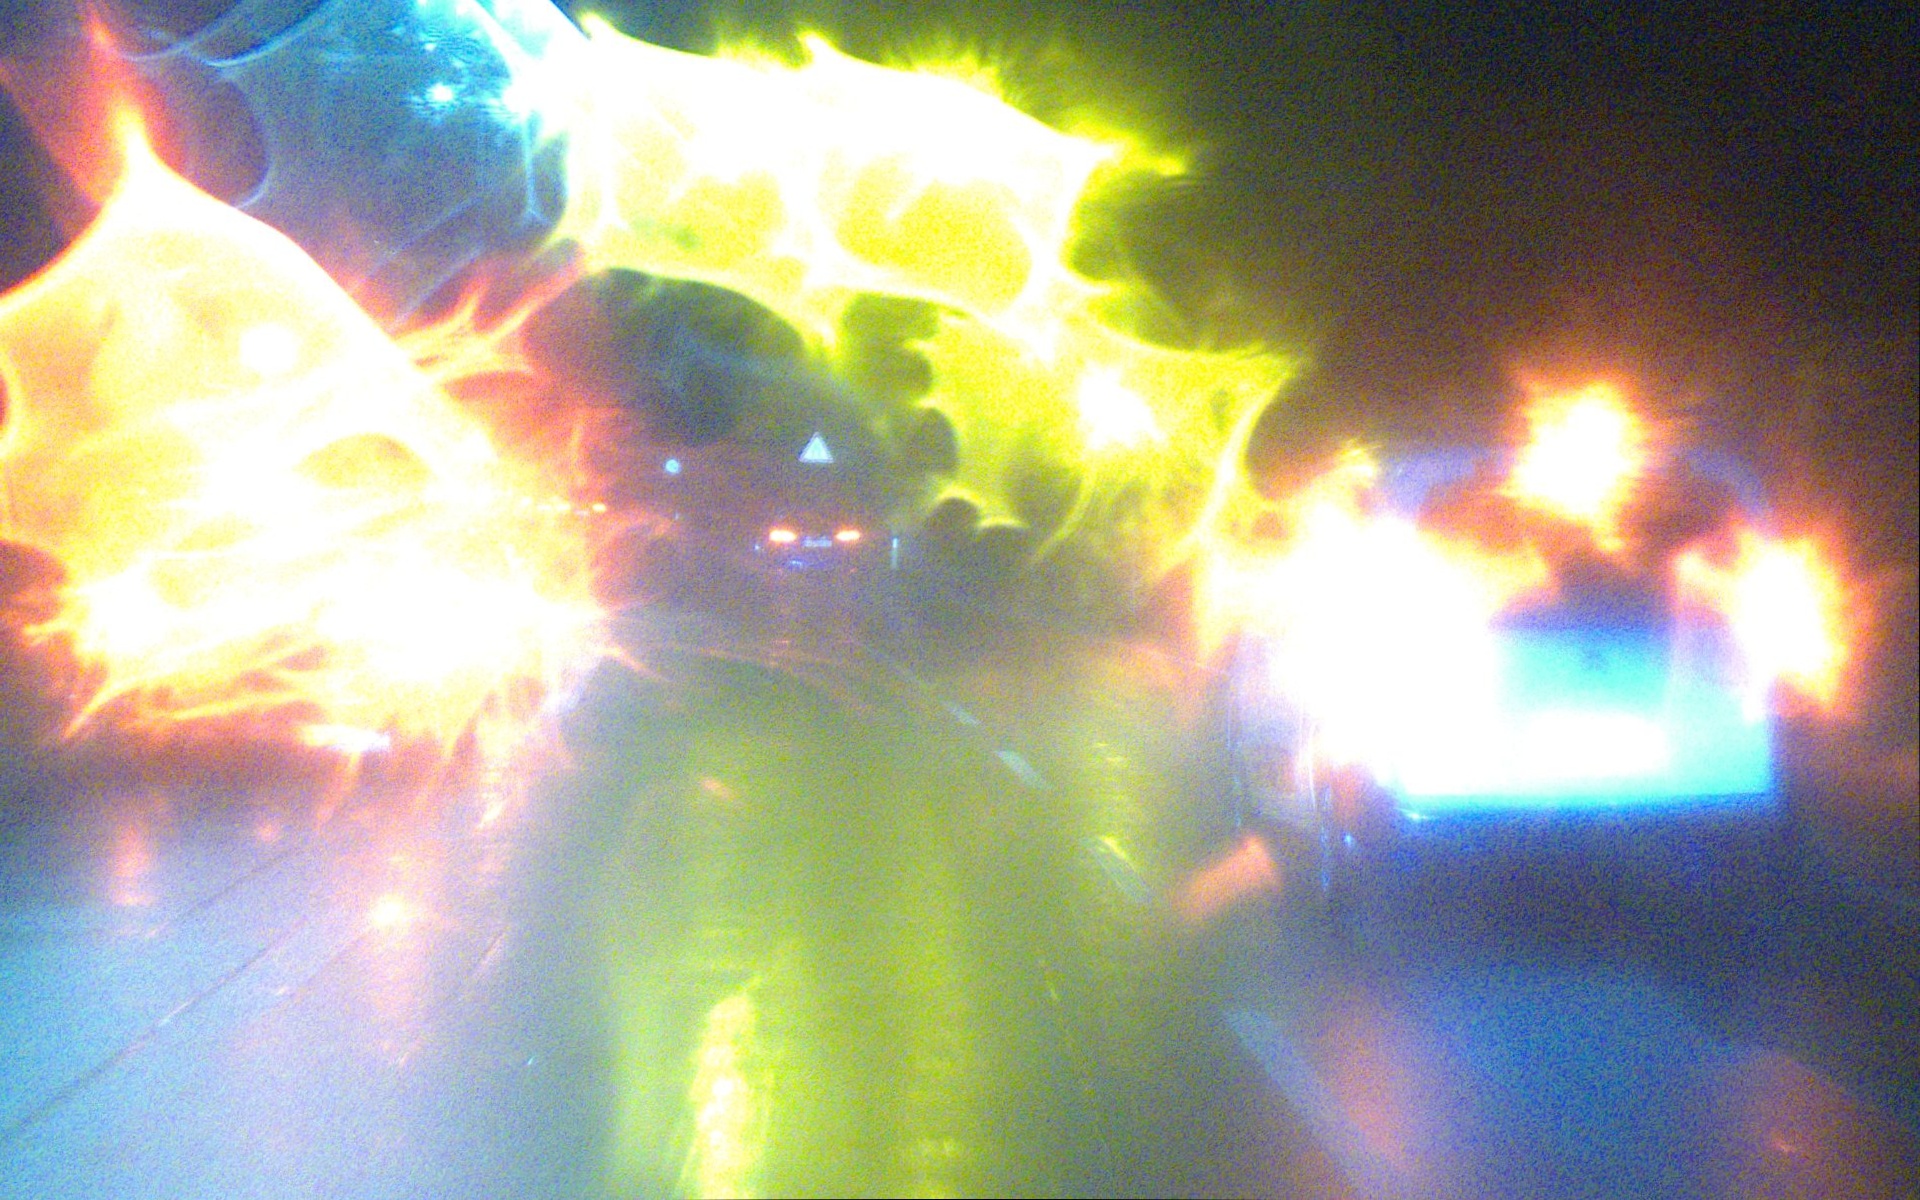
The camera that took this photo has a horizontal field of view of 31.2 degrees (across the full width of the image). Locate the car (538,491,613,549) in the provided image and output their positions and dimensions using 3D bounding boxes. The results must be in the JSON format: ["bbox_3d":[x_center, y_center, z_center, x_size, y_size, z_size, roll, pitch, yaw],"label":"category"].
[{"bbox_3d":[-12.985,-2.694,116.290,1.993,1.711,4.000,4,0,0],"label":"car"}]

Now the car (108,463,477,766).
[{"bbox_3d":[-4.231,0.032,22.419,1.783,1.776,4.437,0,1,-3],"label":"car"}]

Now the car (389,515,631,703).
[{"bbox_3d":[-3.873,0.019,30.189,1.783,1.506,4.437,-1,1,-4],"label":"car"}]

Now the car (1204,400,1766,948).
[{"bbox_3d":[2.097,0.166,14.966,1.791,2.014,4.580,0,3,1],"label":"car"}]

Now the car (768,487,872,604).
[{"bbox_3d":[-2.529,-1.004,61.737,1.791,2.015,4.580,0,1,-3],"label":"car"}]
